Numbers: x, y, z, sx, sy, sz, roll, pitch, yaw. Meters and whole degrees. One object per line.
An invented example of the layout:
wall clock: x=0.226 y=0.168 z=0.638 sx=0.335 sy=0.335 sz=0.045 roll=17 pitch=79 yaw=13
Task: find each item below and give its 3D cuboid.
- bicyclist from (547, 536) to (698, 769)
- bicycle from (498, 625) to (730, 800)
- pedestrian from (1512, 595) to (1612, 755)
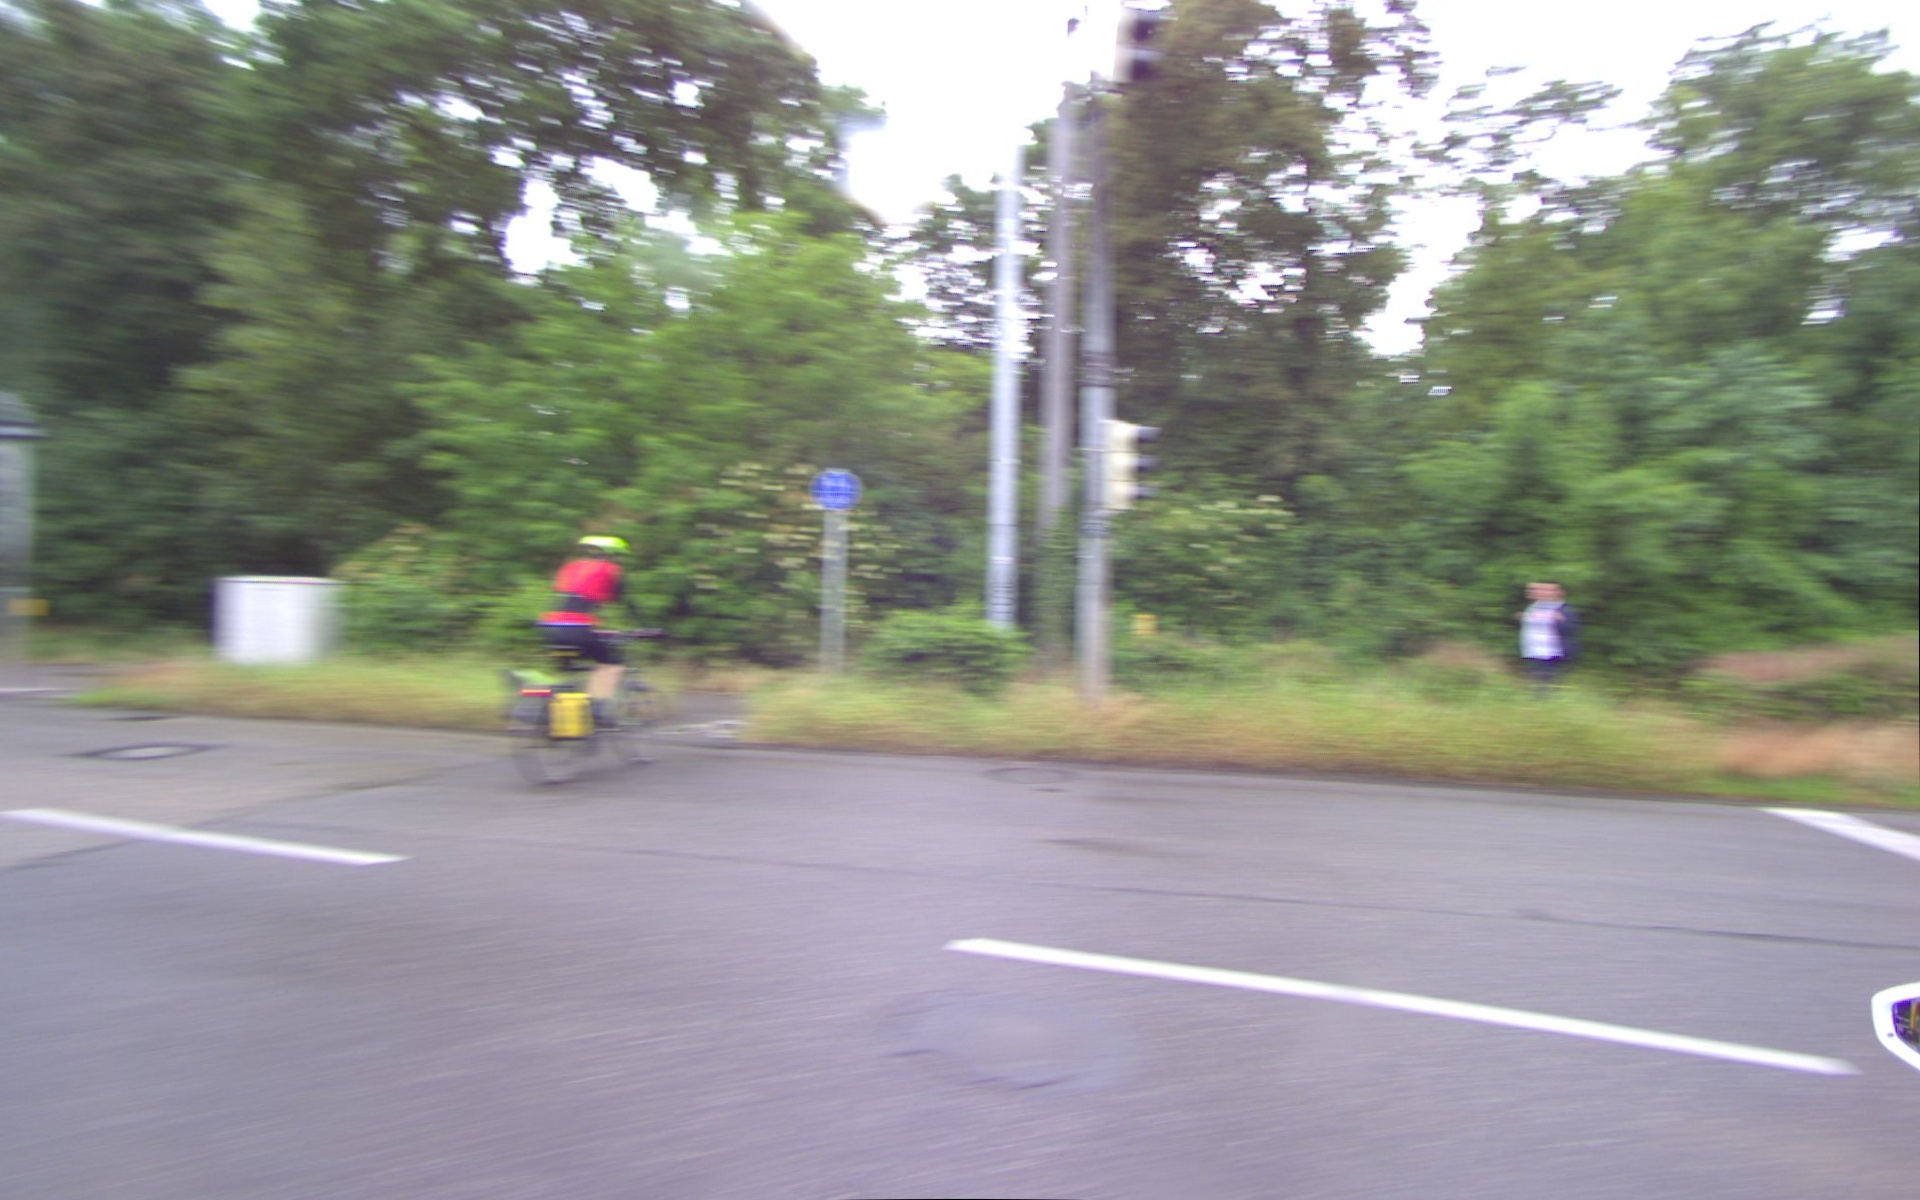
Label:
bicyclist: x=-2.618 y=0.379 z=7.883 sx=0.568 sy=1.674 sz=1.049 roll=3 pitch=1 yaw=16
bicycle: x=-2.626 y=0.793 z=7.943 sx=0.568 sy=1.111 sz=2.155 roll=3 pitch=1 yaw=16
pedestrian: x=7.197 y=0.868 z=12.045 sx=0.748 sy=1.824 sz=0.779 roll=2 pitch=0 yaw=12
